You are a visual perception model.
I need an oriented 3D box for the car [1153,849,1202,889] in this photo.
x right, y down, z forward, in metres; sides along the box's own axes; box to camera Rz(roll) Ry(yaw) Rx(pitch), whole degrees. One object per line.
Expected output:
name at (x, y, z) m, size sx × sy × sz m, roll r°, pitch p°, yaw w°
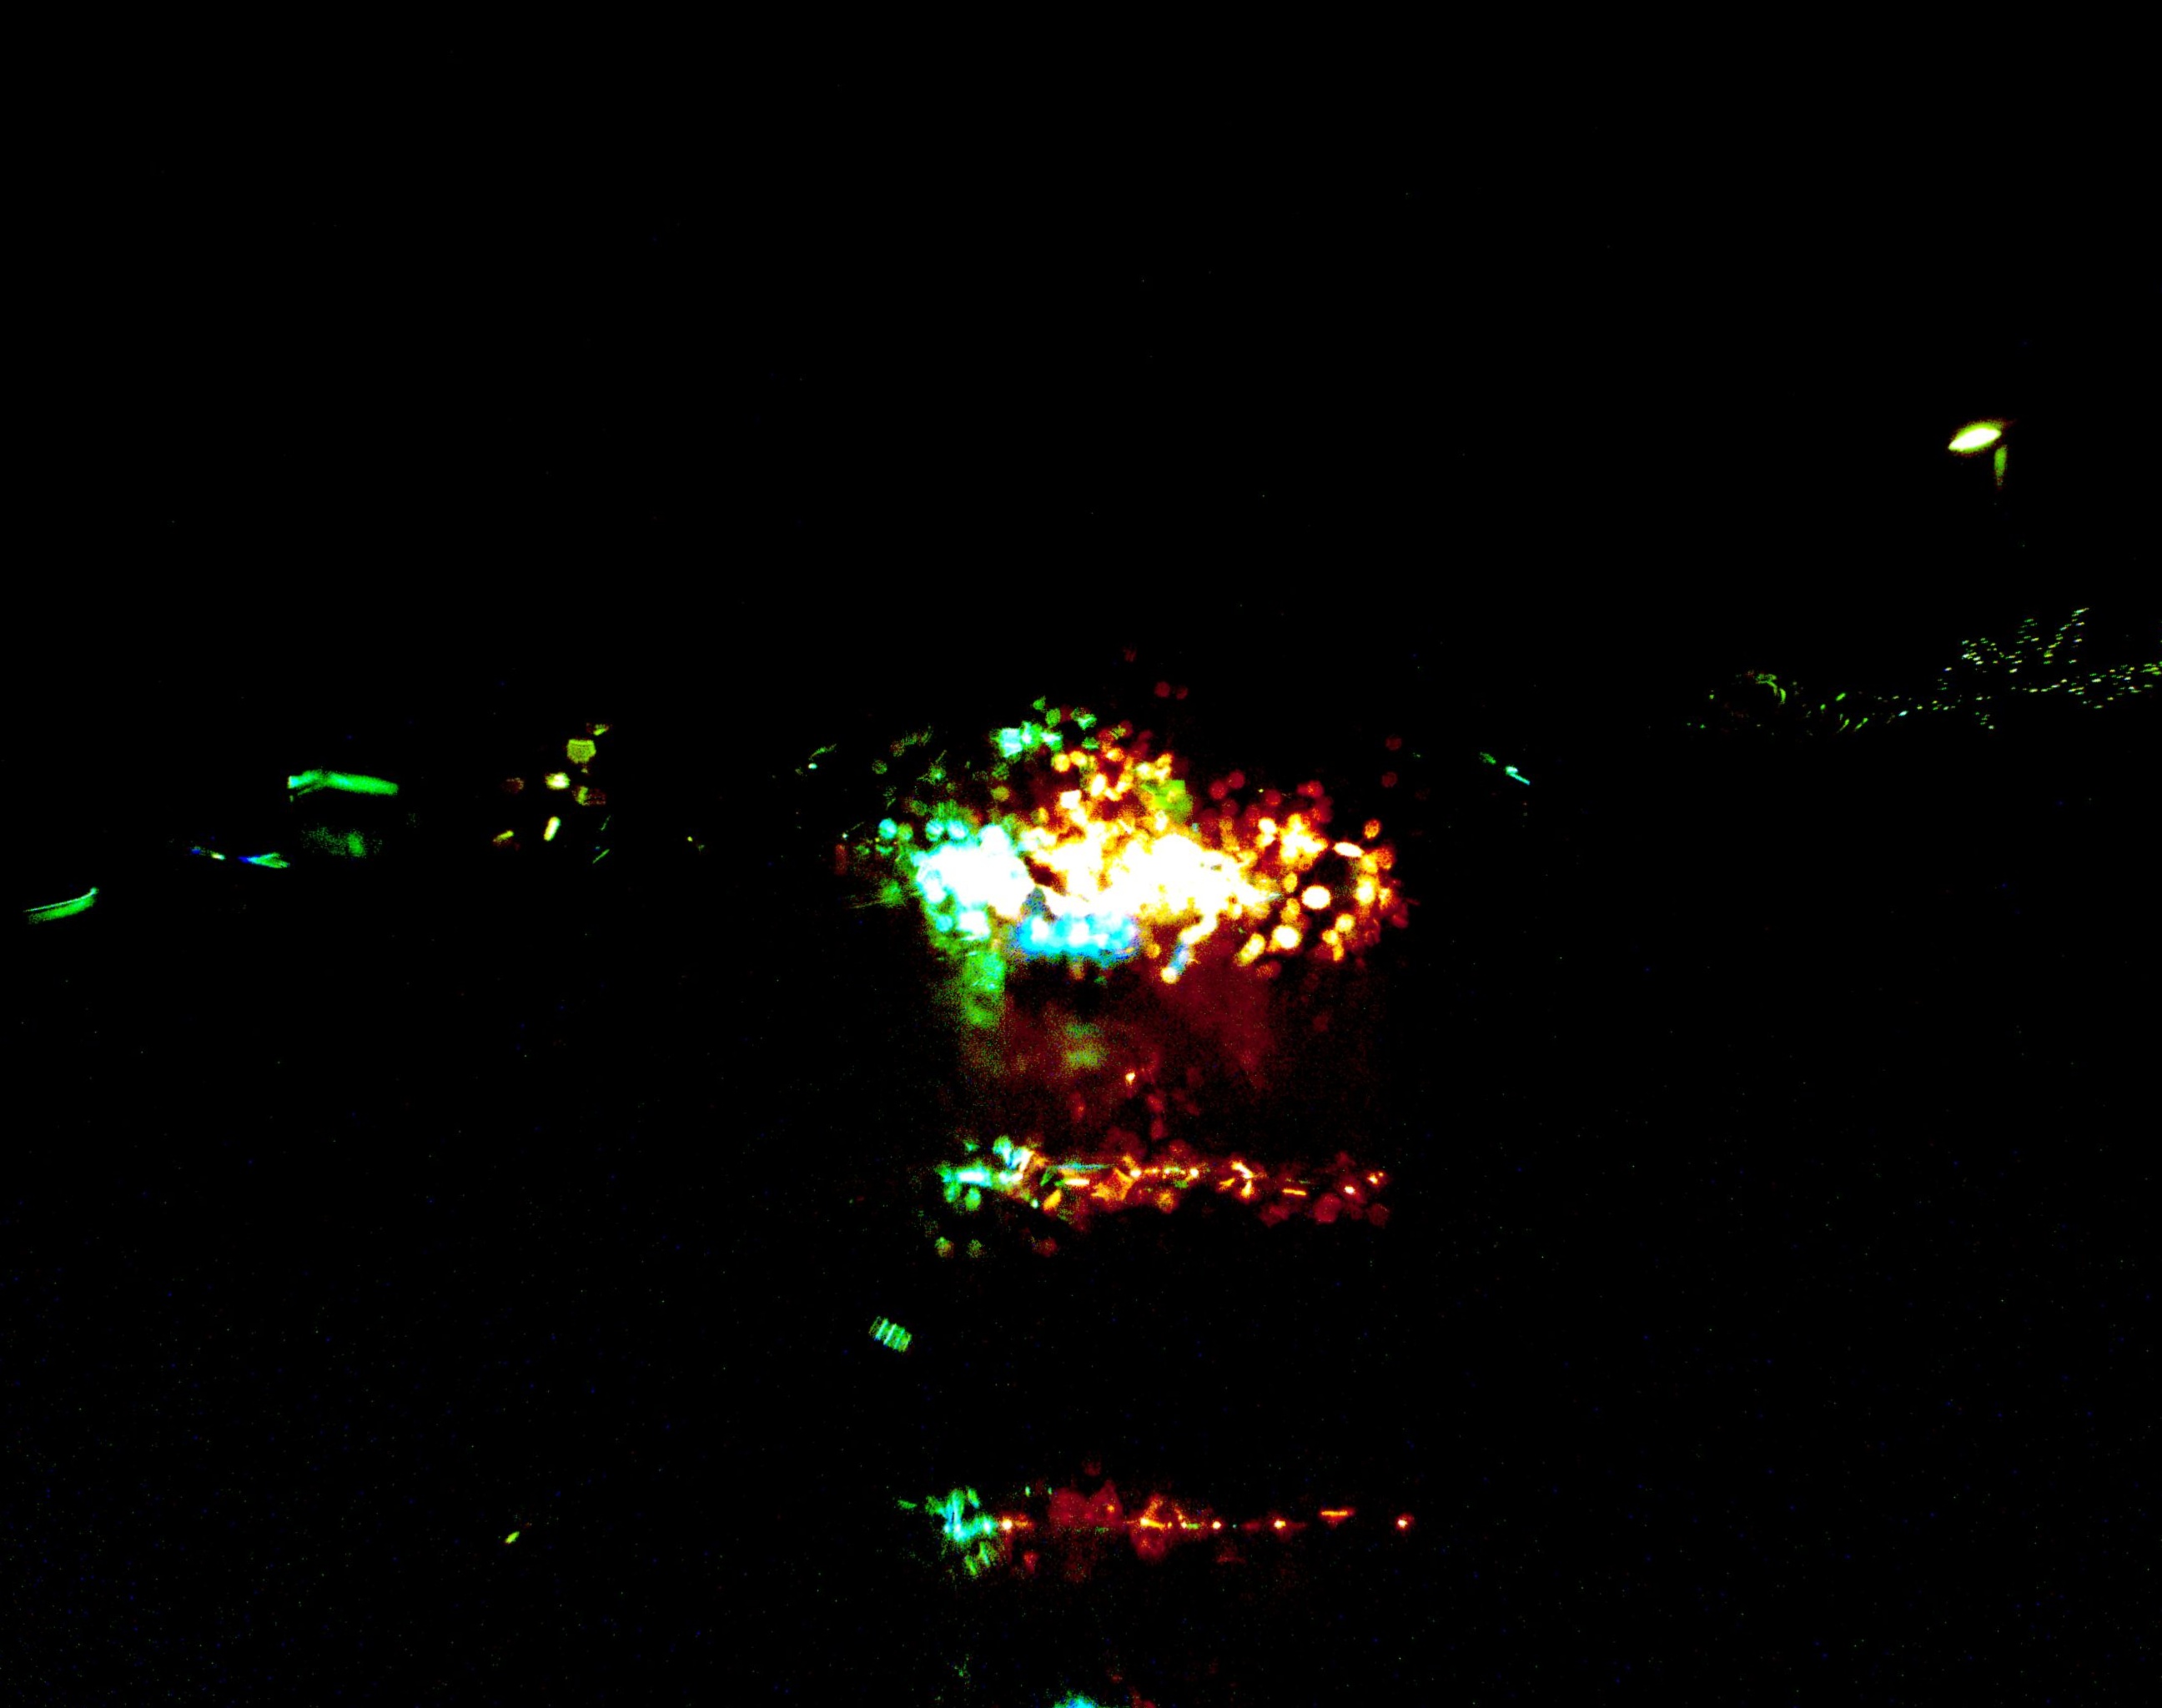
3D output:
car at (3.689, 0.562, 31.779) m, size 1.656 × 1.450 × 4.054 m, roll -2°, pitch -1°, yaw 4°

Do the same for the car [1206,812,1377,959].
car at (3.182, 0.419, 13.211) m, size 1.934 × 1.972 × 4.223 m, roll -1°, pitch 0°, yaw 4°

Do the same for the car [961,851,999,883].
car at (-6.408, 0.809, 52.115) m, size 1.988 × 1.912 × 4.739 m, roll -1°, pitch 0°, yaw -2°

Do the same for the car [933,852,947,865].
car at (-22.013, 0.671, 127.192) m, size 1.993 × 1.912 × 4.728 m, roll -1°, pitch 0°, yaw -9°

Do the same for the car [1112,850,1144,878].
car at (2.583, 0.536, 45.396) m, size 1.657 × 1.450 × 4.051 m, roll -1°, pitch -1°, yaw 1°

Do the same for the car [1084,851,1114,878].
car at (1.143, 0.659, 52.705) m, size 1.704 × 1.638 × 3.728 m, roll -2°, pitch 0°, yaw -2°

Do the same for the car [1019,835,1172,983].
car at (0.220, 0.626, 10.997) m, size 1.688 × 1.630 × 3.854 m, roll -1°, pitch 0°, yaw 2°

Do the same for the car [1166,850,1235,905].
car at (3.435, 0.618, 24.019) m, size 1.759 × 1.450 × 4.224 m, roll -1°, pitch 0°, yaw 5°

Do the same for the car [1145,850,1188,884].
car at (3.979, 0.561, 38.313) m, size 1.657 × 1.450 × 4.051 m, roll -1°, pitch 0°, yaw 1°

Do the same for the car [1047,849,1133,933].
car at (0.258, 0.748, 18.452) m, size 1.702 × 1.638 × 3.732 m, roll -2°, pitch 0°, yaw 2°
